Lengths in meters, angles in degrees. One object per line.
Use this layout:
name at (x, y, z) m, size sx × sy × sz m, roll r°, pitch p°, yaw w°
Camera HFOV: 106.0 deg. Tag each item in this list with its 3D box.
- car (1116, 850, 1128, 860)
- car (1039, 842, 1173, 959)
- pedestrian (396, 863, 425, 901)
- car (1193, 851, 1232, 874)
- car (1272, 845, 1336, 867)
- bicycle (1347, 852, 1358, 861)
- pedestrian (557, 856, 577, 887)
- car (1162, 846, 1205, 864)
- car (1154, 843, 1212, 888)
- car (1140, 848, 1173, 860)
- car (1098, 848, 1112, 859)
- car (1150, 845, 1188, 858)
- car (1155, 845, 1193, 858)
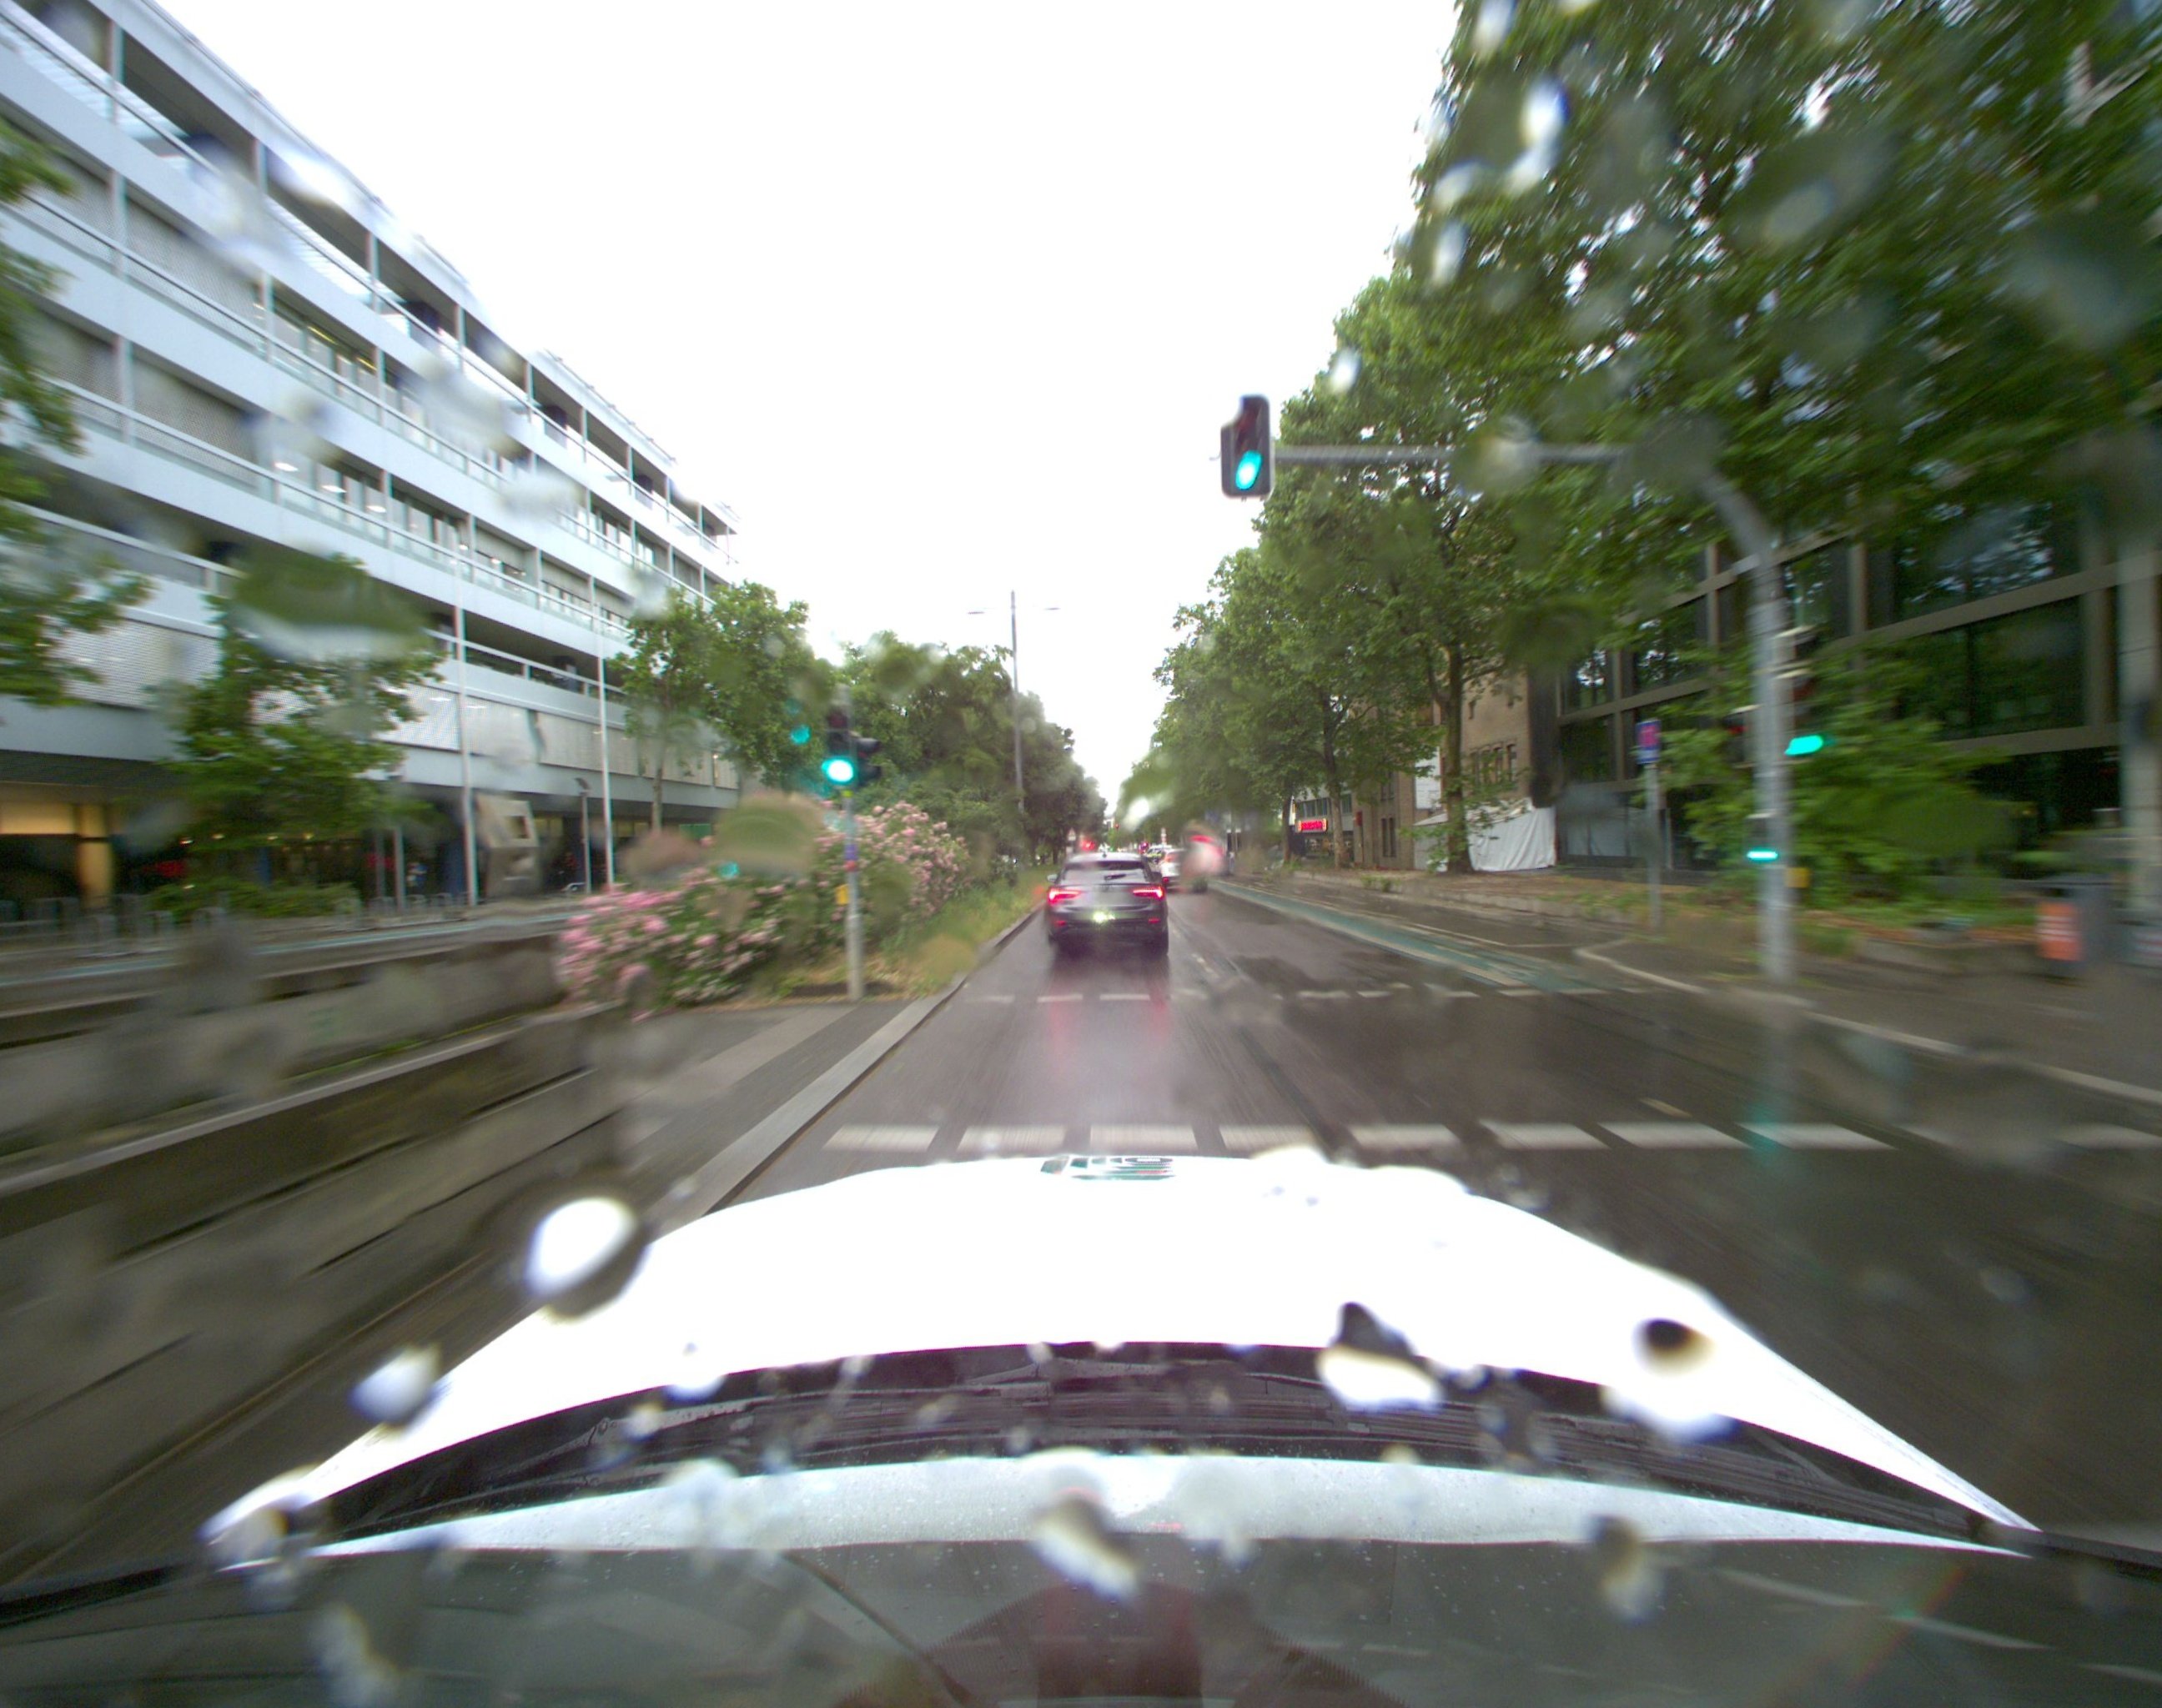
car at (6.793, 0.140, 135.131) m, size 1.986 × 1.651 × 4.001 m, roll 0°, pitch -1°, yaw 2°
car at (0.359, 0.650, 13.343) m, size 1.843 × 1.602 × 4.000 m, roll -1°, pitch 0°, yaw 0°
pedestrian at (-24.464, 1.012, 29.718) m, size 0.636 × 1.380 × 0.474 m, roll 0°, pitch -1°, yaw -2°
car at (8.409, 0.526, 52.477) m, size 1.866 × 1.421 × 4.612 m, roll 0°, pitch 0°, yaw 1°
car at (11.614, 0.114, 42.434) m, size 2.856 × 1.074 × 1.465 m, roll -1°, pitch -1°, yaw 32°
bicycle at (25.757, 0.201, 77.356) m, size 0.446 × 0.836 × 2.027 m, roll 0°, pitch -1°, yaw 2°
pedestrian at (-25.157, 0.855, 39.877) m, size 0.608 × 1.482 × 0.574 m, roll 0°, pitch -1°, yaw -2°
car at (11.691, 0.177, 93.260) m, size 4.548 × 2.014 × 1.980 m, roll -1°, pitch -1°, yaw 39°
car at (3.985, 0.450, 32.363) m, size 1.871 × 1.697 × 4.001 m, roll 0°, pitch -1°, yaw 1°
car at (11.607, -0.015, 124.562) m, size 4.594 × 1.706 × 2.012 m, roll 0°, pitch -1°, yaw 29°
car at (3.672, -0.039, 125.523) m, size 1.987 × 1.726 × 4.000 m, roll 0°, pitch -1°, yaw 1°
car at (11.940, -0.342, 110.622) m, size 4.594 × 1.706 × 2.012 m, roll 0°, pitch -1°, yaw 29°
car at (12.227, -0.294, 107.045) m, size 4.594 × 1.706 × 2.012 m, roll 0°, pitch -1°, yaw 29°
